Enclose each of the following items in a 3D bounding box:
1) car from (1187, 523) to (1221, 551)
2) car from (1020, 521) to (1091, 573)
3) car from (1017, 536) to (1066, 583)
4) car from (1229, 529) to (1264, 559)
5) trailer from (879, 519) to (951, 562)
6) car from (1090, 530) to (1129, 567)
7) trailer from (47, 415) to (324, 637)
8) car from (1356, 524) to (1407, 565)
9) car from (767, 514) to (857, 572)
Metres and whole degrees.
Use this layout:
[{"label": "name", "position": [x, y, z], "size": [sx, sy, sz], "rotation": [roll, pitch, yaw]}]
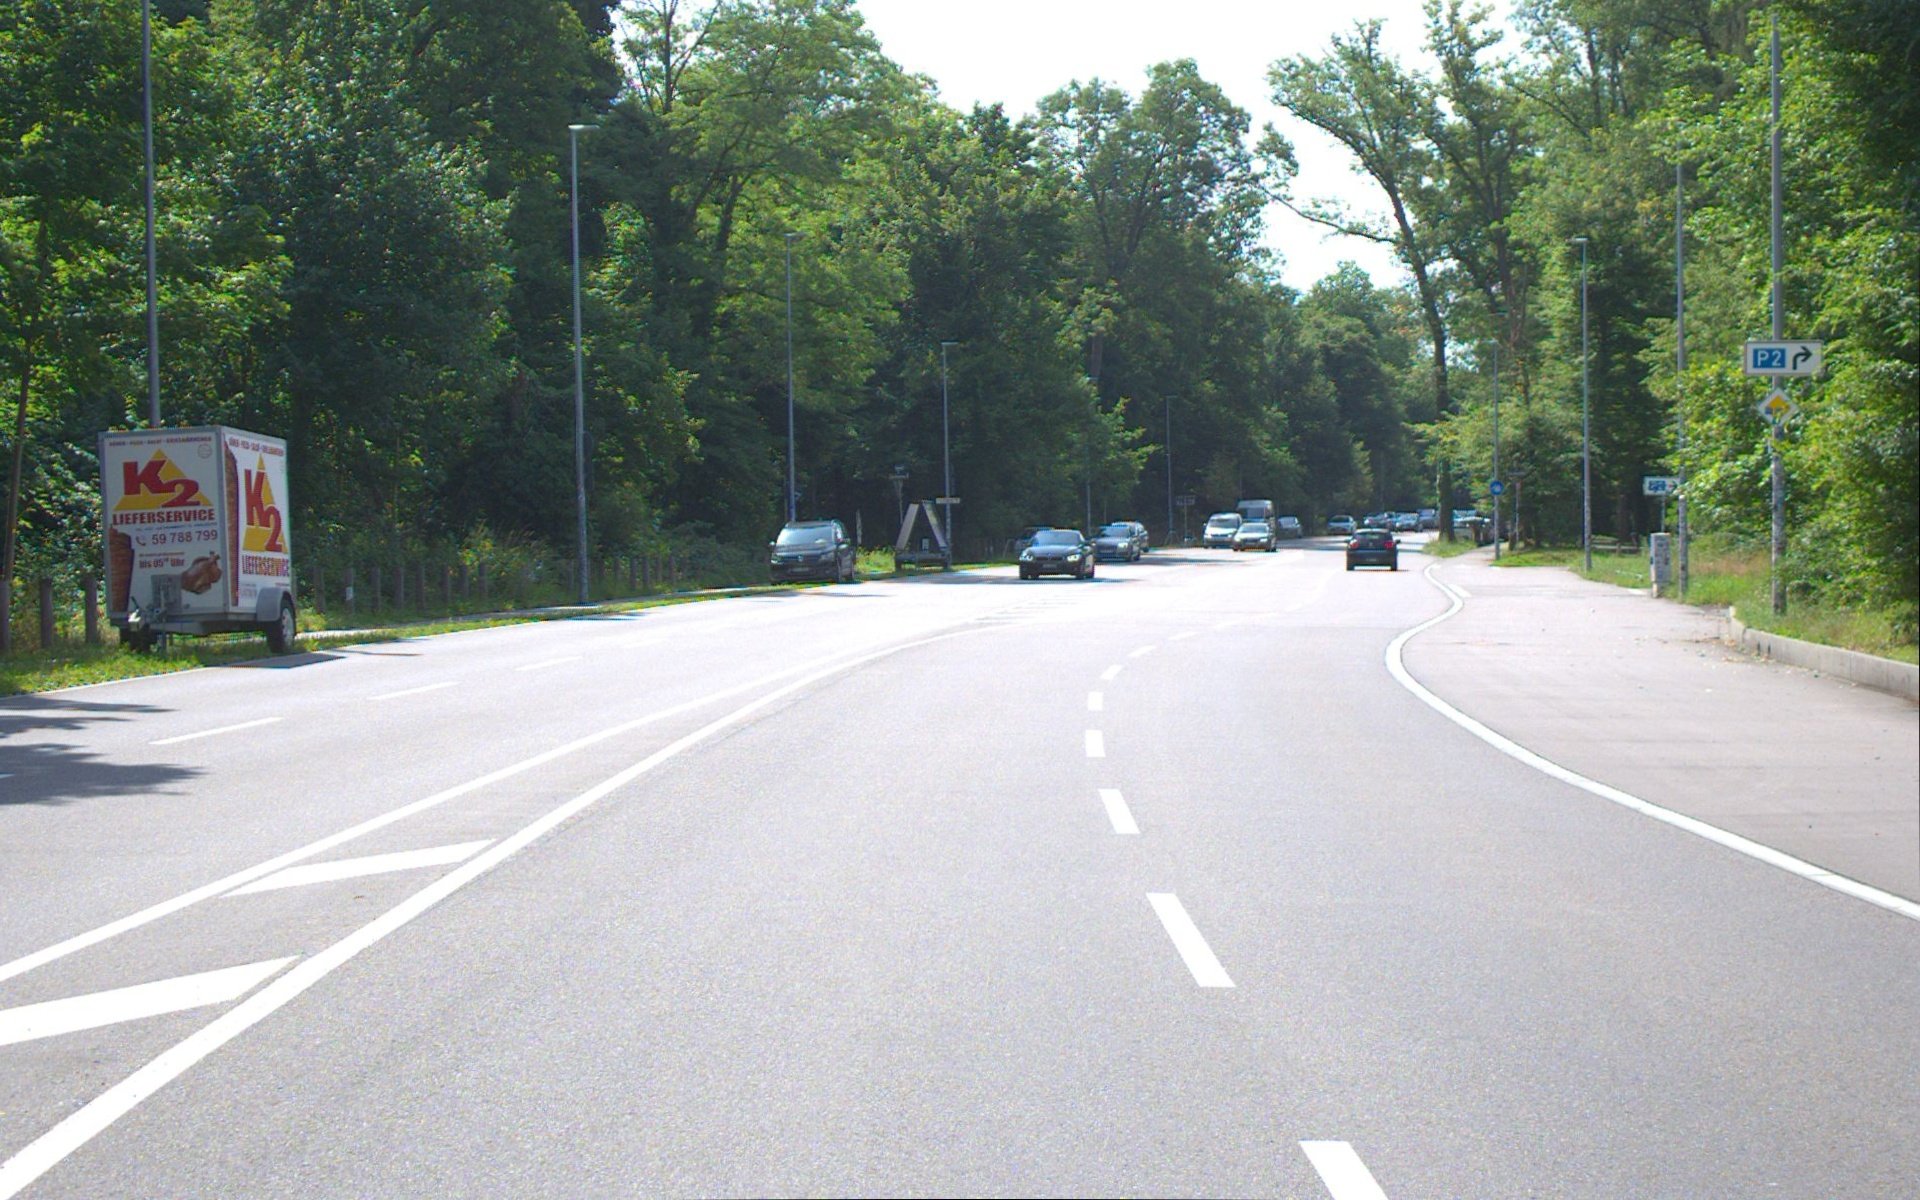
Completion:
[{"label": "car", "position": [12.469, -3.233, 175.705], "size": [1.504, 1.441, 3.528], "rotation": [0, 1, 8]}, {"label": "car", "position": [2.671, -1.485, 95.779], "size": [1.504, 1.441, 3.528], "rotation": [0, 1, 9]}, {"label": "car", "position": [3.272, -1.656, 138.010], "size": [1.922, 1.848, 4.000], "rotation": [0, 1, 2]}, {"label": "car", "position": [13.964, -2.714, 167.404], "size": [1.504, 1.441, 3.528], "rotation": [0, 1, 7]}, {"label": "trailer", "position": [-1.413, -1.889, 109.081], "size": [1.717, 1.350, 3.731], "rotation": [0, 1, 8]}, {"label": "car", "position": [5.985, -2.072, 137.409], "size": [1.503, 1.441, 3.529], "rotation": [0, 1, 3]}, {"label": "trailer", "position": [-8.676, -0.838, 38.844], "size": [1.994, 2.380, 4.000], "rotation": [0, 1, 4]}, {"label": "car", "position": [14.536, -1.928, 118.510], "size": [1.598, 1.373, 3.974], "rotation": [0, 1, 9]}, {"label": "car", "position": [-3.744, -1.446, 87.363], "size": [1.504, 1.441, 3.528], "rotation": [0, 1, 11]}]
